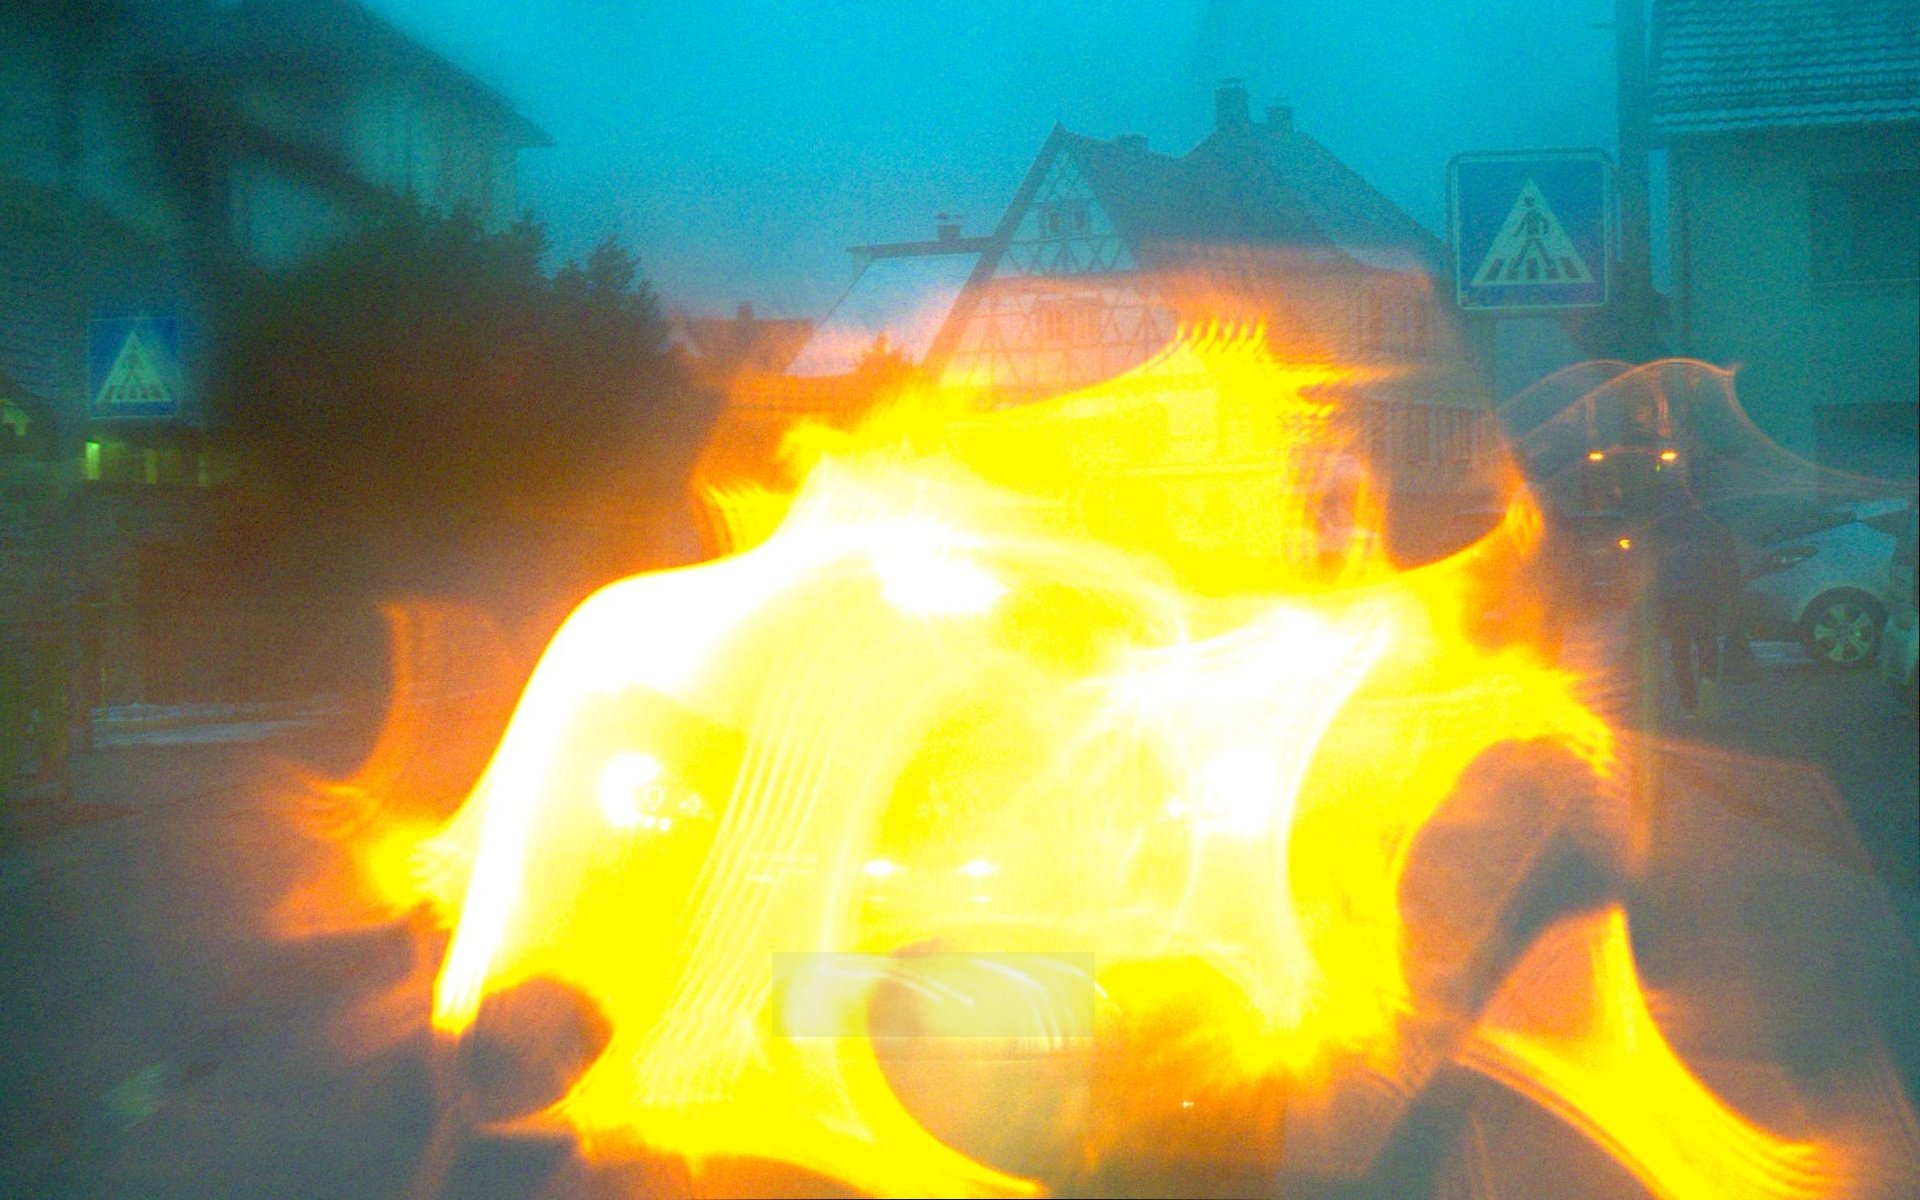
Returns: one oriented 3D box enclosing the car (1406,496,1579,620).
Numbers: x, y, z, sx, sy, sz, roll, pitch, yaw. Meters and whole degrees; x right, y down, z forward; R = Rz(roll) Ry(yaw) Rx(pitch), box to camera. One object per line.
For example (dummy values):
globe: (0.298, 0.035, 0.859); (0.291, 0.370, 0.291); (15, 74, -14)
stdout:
car: (7.457, -0.609, 47.834); (1.849, 1.631, 4.333); (0, 1, 16)

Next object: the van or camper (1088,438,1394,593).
van or camper: (6.159, -1.828, 75.351); (6.068, 2.945, 2.403); (-4, 0, 24)

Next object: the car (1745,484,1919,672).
car: (8.550, -0.250, 28.452); (3.902, 1.469, 1.750); (-2, 1, 12)

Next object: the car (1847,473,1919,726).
car: (7.066, -0.074, 21.791); (2.583, 1.542, 1.551); (-2, 2, 9)

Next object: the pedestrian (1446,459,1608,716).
pedestrian: (3.871, -0.094, 23.412); (0.867, 1.661, 0.991); (-4, 1, 16)

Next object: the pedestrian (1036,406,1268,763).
pedestrian: (0.999, -0.087, 17.658); (0.880, 1.729, 0.955); (-4, 1, 17)

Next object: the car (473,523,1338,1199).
car: (-0.249, 0.543, 9.131); (1.795, 1.471, 4.001); (0, 2, -4)

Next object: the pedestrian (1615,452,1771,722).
pedestrian: (4.942, -0.098, 23.149); (0.849, 1.727, 0.971); (-4, 1, 16)
